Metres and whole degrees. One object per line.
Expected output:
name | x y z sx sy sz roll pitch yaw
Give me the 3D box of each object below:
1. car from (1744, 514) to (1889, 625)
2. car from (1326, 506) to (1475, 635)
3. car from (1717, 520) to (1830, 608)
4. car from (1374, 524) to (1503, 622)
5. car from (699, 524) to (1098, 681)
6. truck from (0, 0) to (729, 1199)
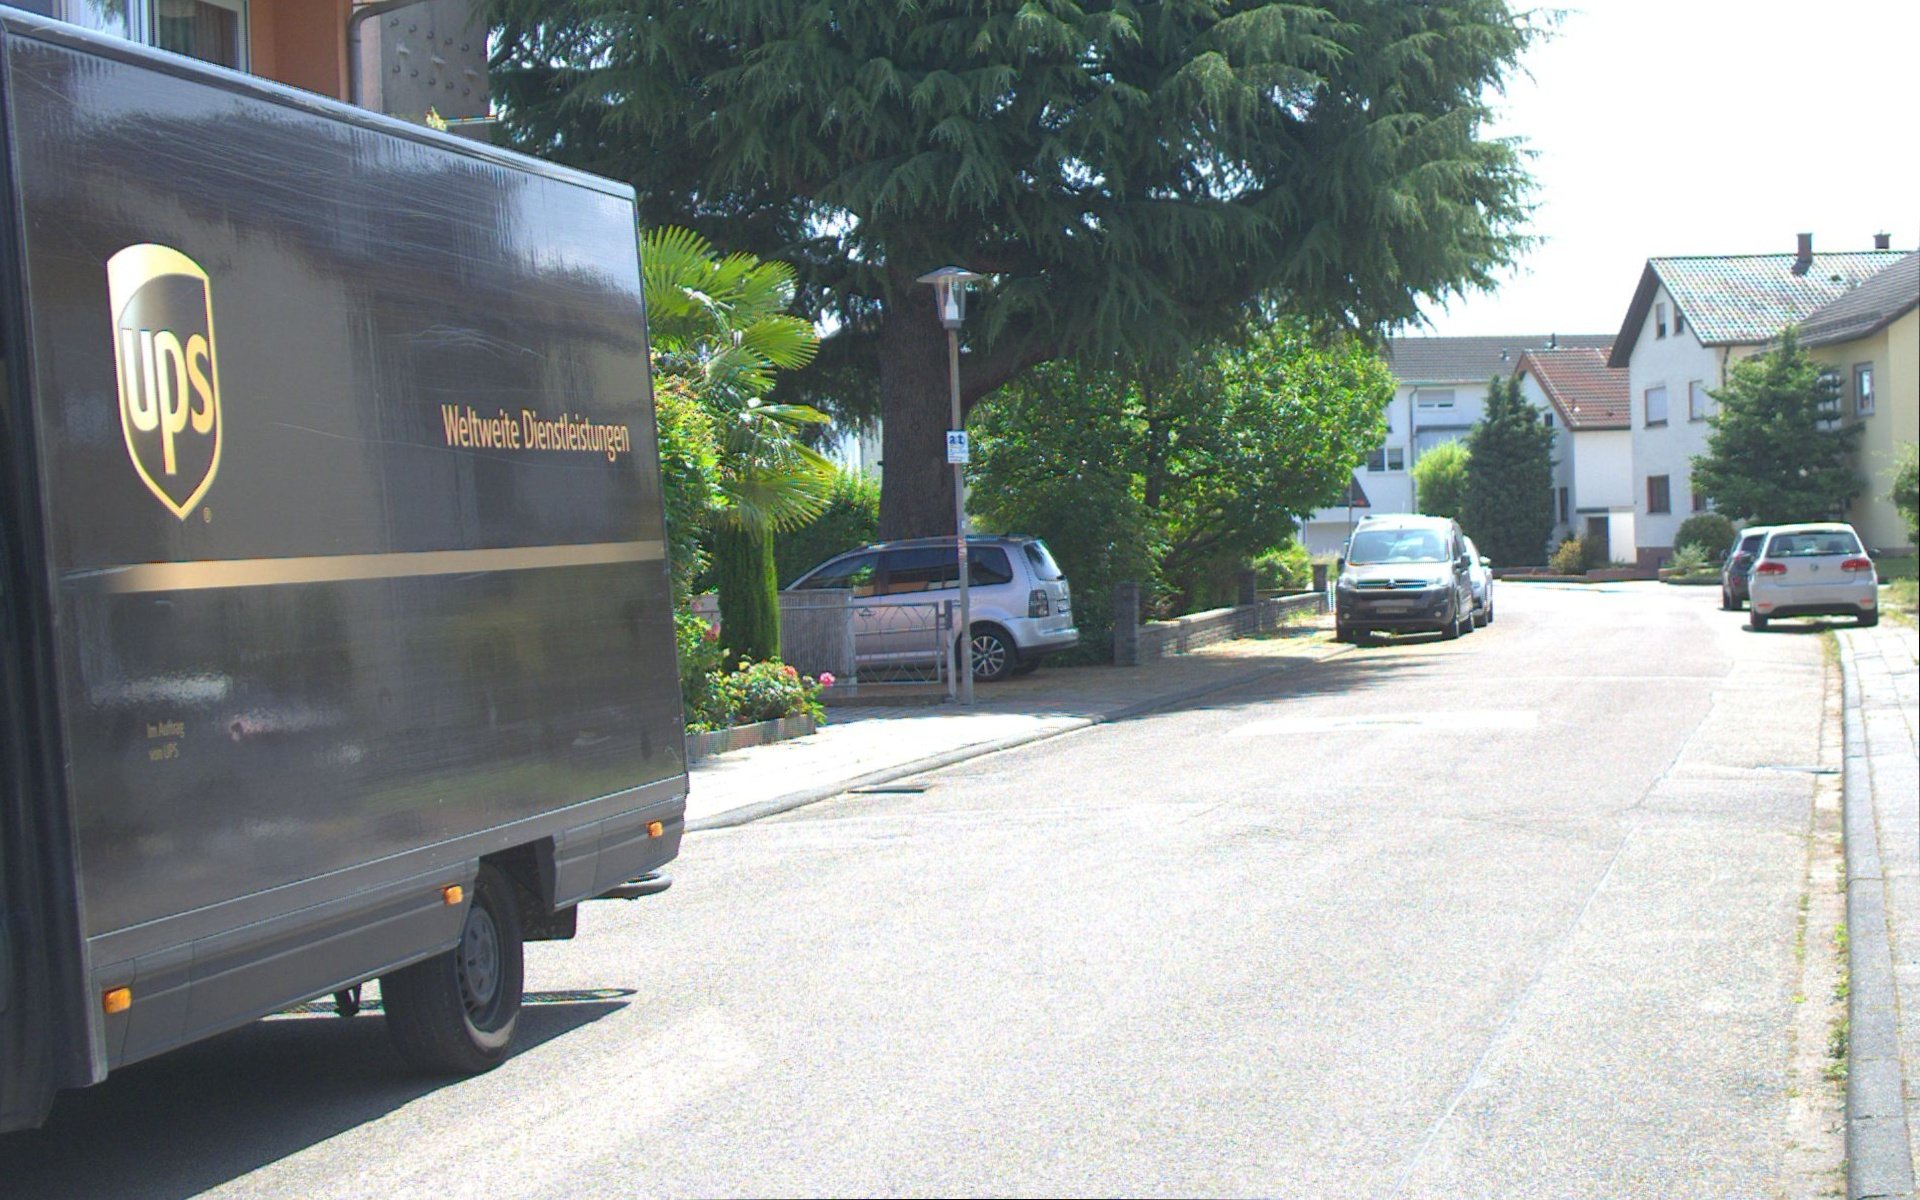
car | 12.300 -0.469 49.555 1.809 1.490 3.998 -2 1 12
car | 6.514 -0.462 50.539 1.809 1.757 4.204 -2 1 12
car | 14.706 -0.680 62.292 1.809 1.490 3.998 -2 1 12
car | 7.898 -0.471 56.542 1.809 1.490 3.998 -2 1 12
car | -0.696 0.022 39.669 4.196 1.647 1.812 -2 1 17
truck | -2.905 0.105 8.587 2.435 2.778 7.294 -4 0 13
